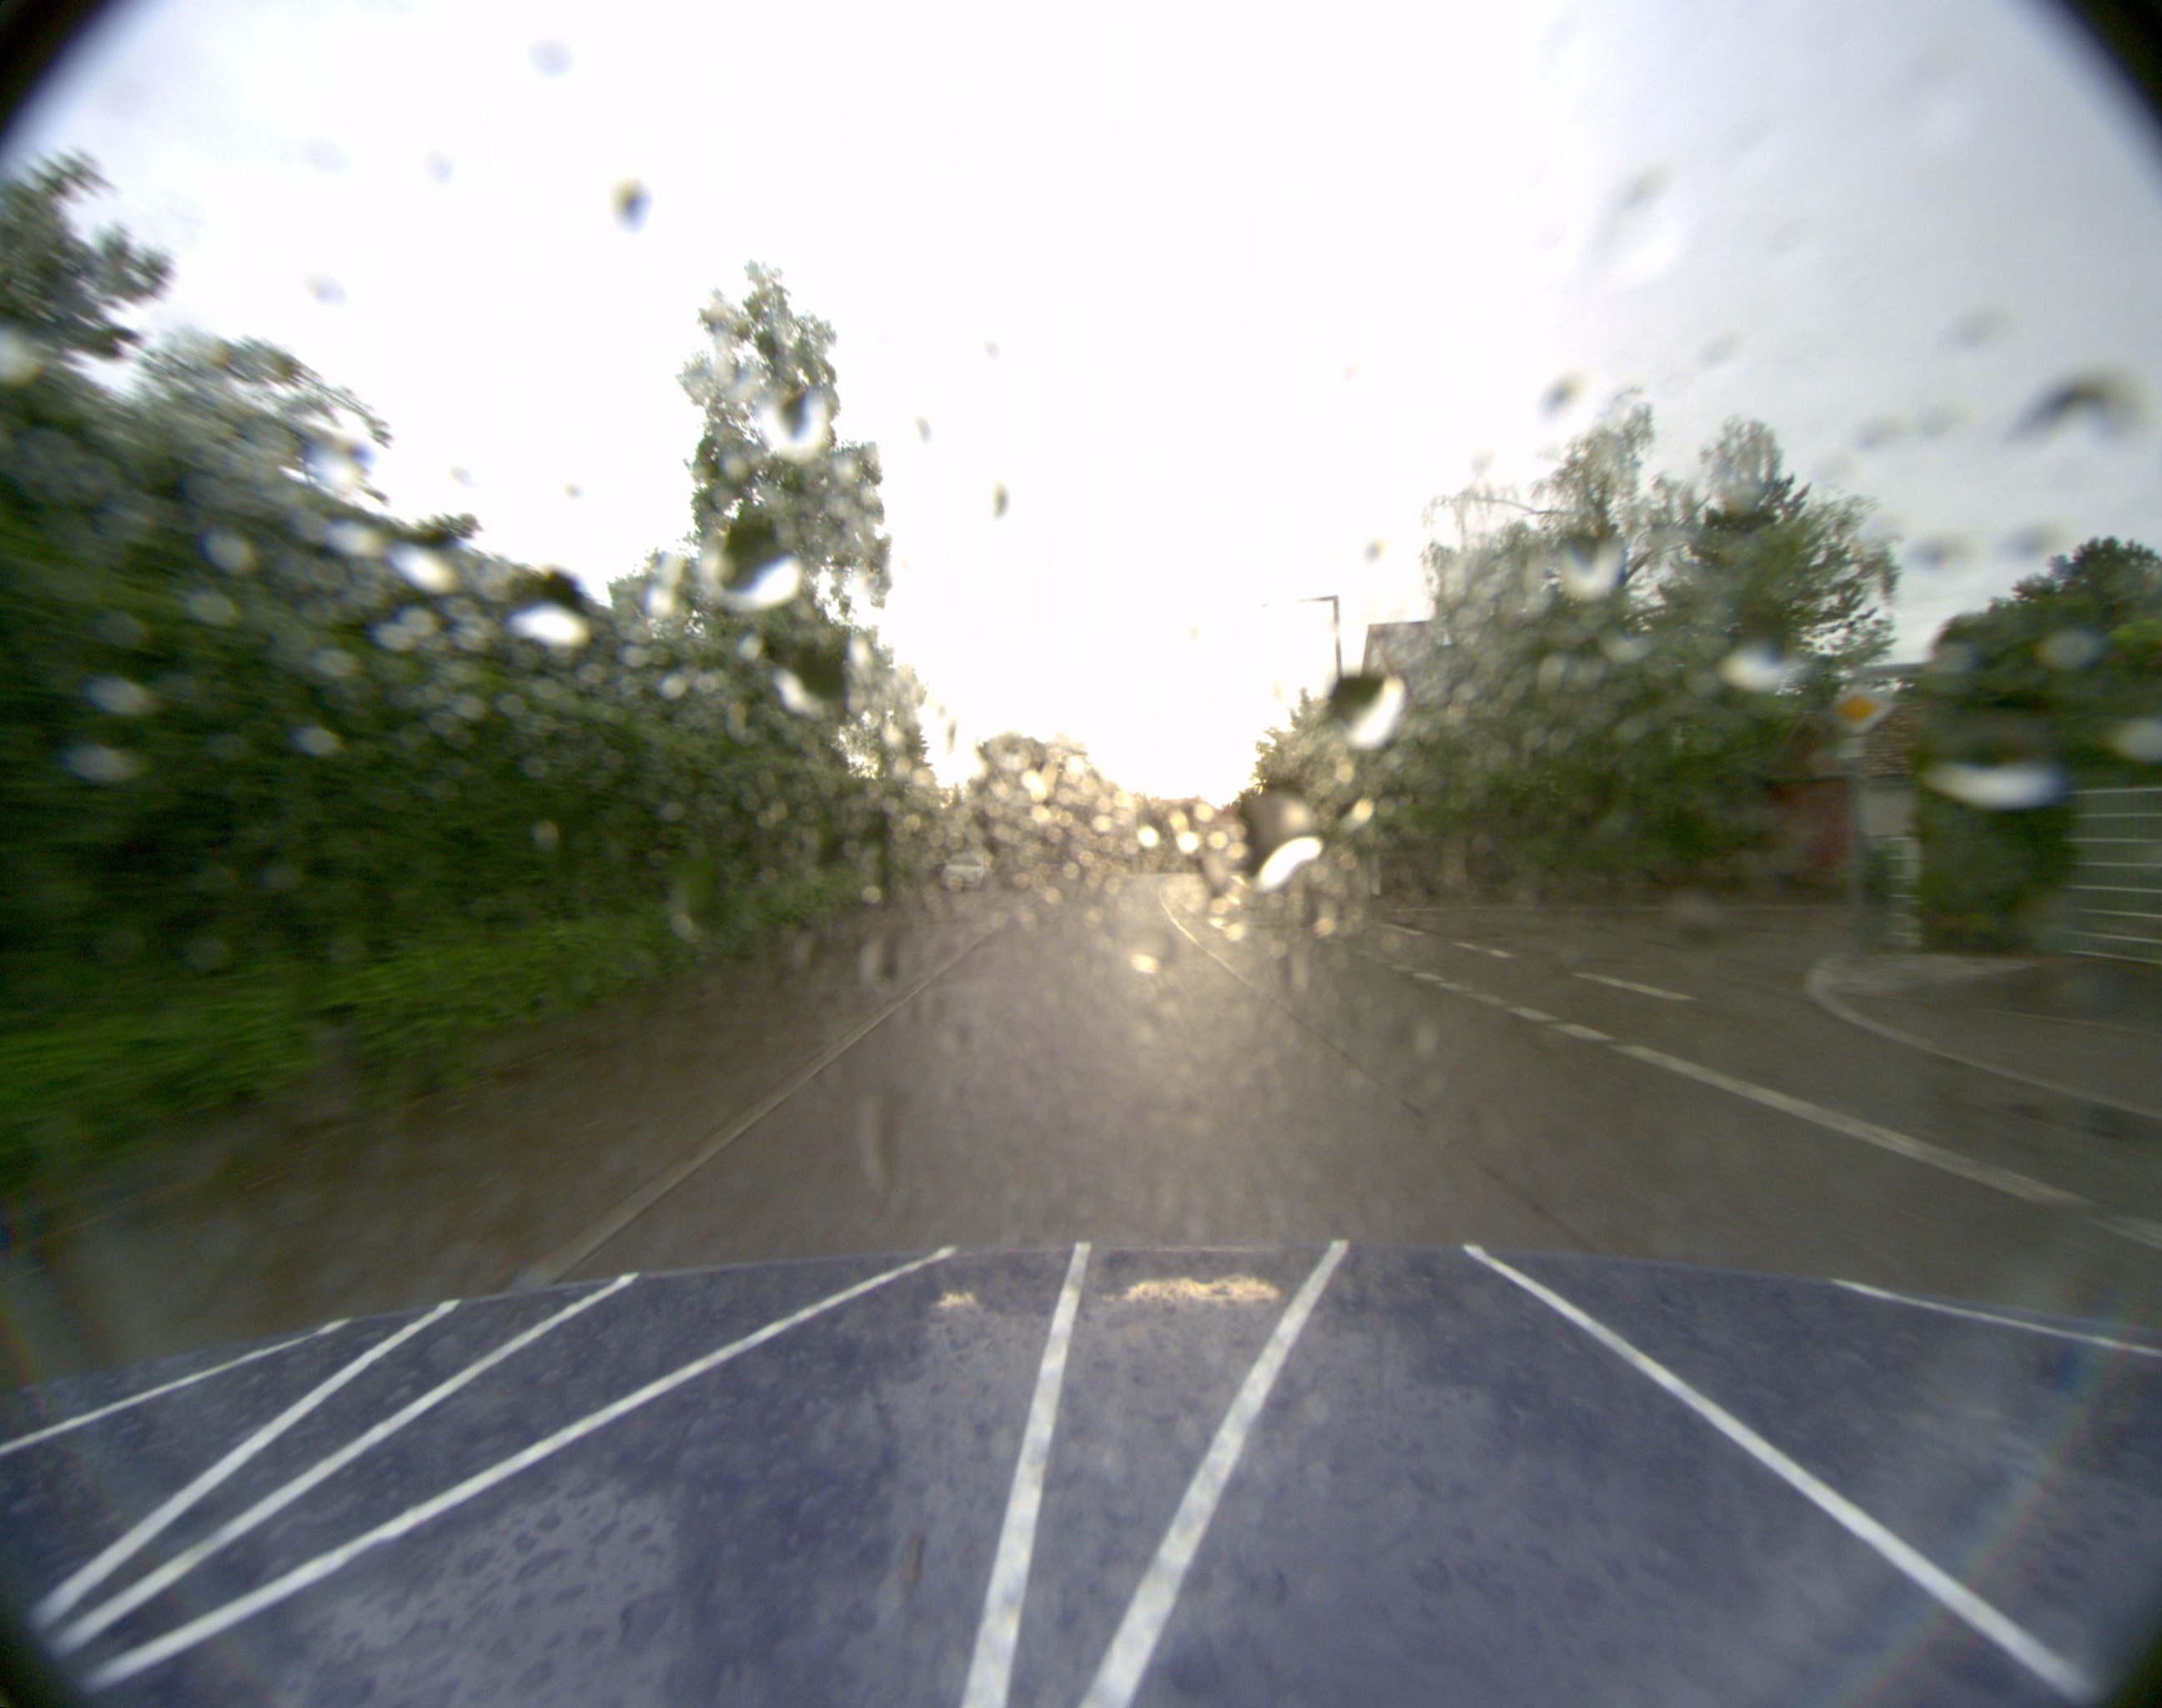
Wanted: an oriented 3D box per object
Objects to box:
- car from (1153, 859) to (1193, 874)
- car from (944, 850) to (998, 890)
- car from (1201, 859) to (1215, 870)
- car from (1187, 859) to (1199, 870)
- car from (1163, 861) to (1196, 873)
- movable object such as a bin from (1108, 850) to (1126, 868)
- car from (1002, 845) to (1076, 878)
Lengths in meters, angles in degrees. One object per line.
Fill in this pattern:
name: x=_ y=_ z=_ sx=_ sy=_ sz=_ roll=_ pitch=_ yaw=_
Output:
car: x=10.981 y=1.477 z=90.632 sx=4.533 sy=1.650 sz=1.858 roll=-2 pitch=-2 yaw=11
car: x=-4.432 y=0.607 z=31.139 sx=1.535 sy=1.526 sz=3.846 roll=0 pitch=0 yaw=2
car: x=21.134 y=1.743 z=126.886 sx=1.723 sy=1.554 sz=3.793 roll=0 pitch=3 yaw=1
car: x=18.664 y=1.748 z=126.578 sx=1.794 sy=1.584 sz=4.256 roll=0 pitch=3 yaw=5
car: x=12.415 y=1.616 z=95.686 sx=3.748 sy=1.449 sz=1.727 roll=-2 pitch=-2 yaw=16
movable object such as a bin: x=3.048 y=0.455 z=64.146 sx=1.245 sy=1.488 sz=0.982 roll=-1 pitch=-1 yaw=-16
car: x=-2.712 y=0.480 z=48.605 sx=4.335 sy=1.706 sz=1.731 roll=-5 pitch=0 yaw=29
